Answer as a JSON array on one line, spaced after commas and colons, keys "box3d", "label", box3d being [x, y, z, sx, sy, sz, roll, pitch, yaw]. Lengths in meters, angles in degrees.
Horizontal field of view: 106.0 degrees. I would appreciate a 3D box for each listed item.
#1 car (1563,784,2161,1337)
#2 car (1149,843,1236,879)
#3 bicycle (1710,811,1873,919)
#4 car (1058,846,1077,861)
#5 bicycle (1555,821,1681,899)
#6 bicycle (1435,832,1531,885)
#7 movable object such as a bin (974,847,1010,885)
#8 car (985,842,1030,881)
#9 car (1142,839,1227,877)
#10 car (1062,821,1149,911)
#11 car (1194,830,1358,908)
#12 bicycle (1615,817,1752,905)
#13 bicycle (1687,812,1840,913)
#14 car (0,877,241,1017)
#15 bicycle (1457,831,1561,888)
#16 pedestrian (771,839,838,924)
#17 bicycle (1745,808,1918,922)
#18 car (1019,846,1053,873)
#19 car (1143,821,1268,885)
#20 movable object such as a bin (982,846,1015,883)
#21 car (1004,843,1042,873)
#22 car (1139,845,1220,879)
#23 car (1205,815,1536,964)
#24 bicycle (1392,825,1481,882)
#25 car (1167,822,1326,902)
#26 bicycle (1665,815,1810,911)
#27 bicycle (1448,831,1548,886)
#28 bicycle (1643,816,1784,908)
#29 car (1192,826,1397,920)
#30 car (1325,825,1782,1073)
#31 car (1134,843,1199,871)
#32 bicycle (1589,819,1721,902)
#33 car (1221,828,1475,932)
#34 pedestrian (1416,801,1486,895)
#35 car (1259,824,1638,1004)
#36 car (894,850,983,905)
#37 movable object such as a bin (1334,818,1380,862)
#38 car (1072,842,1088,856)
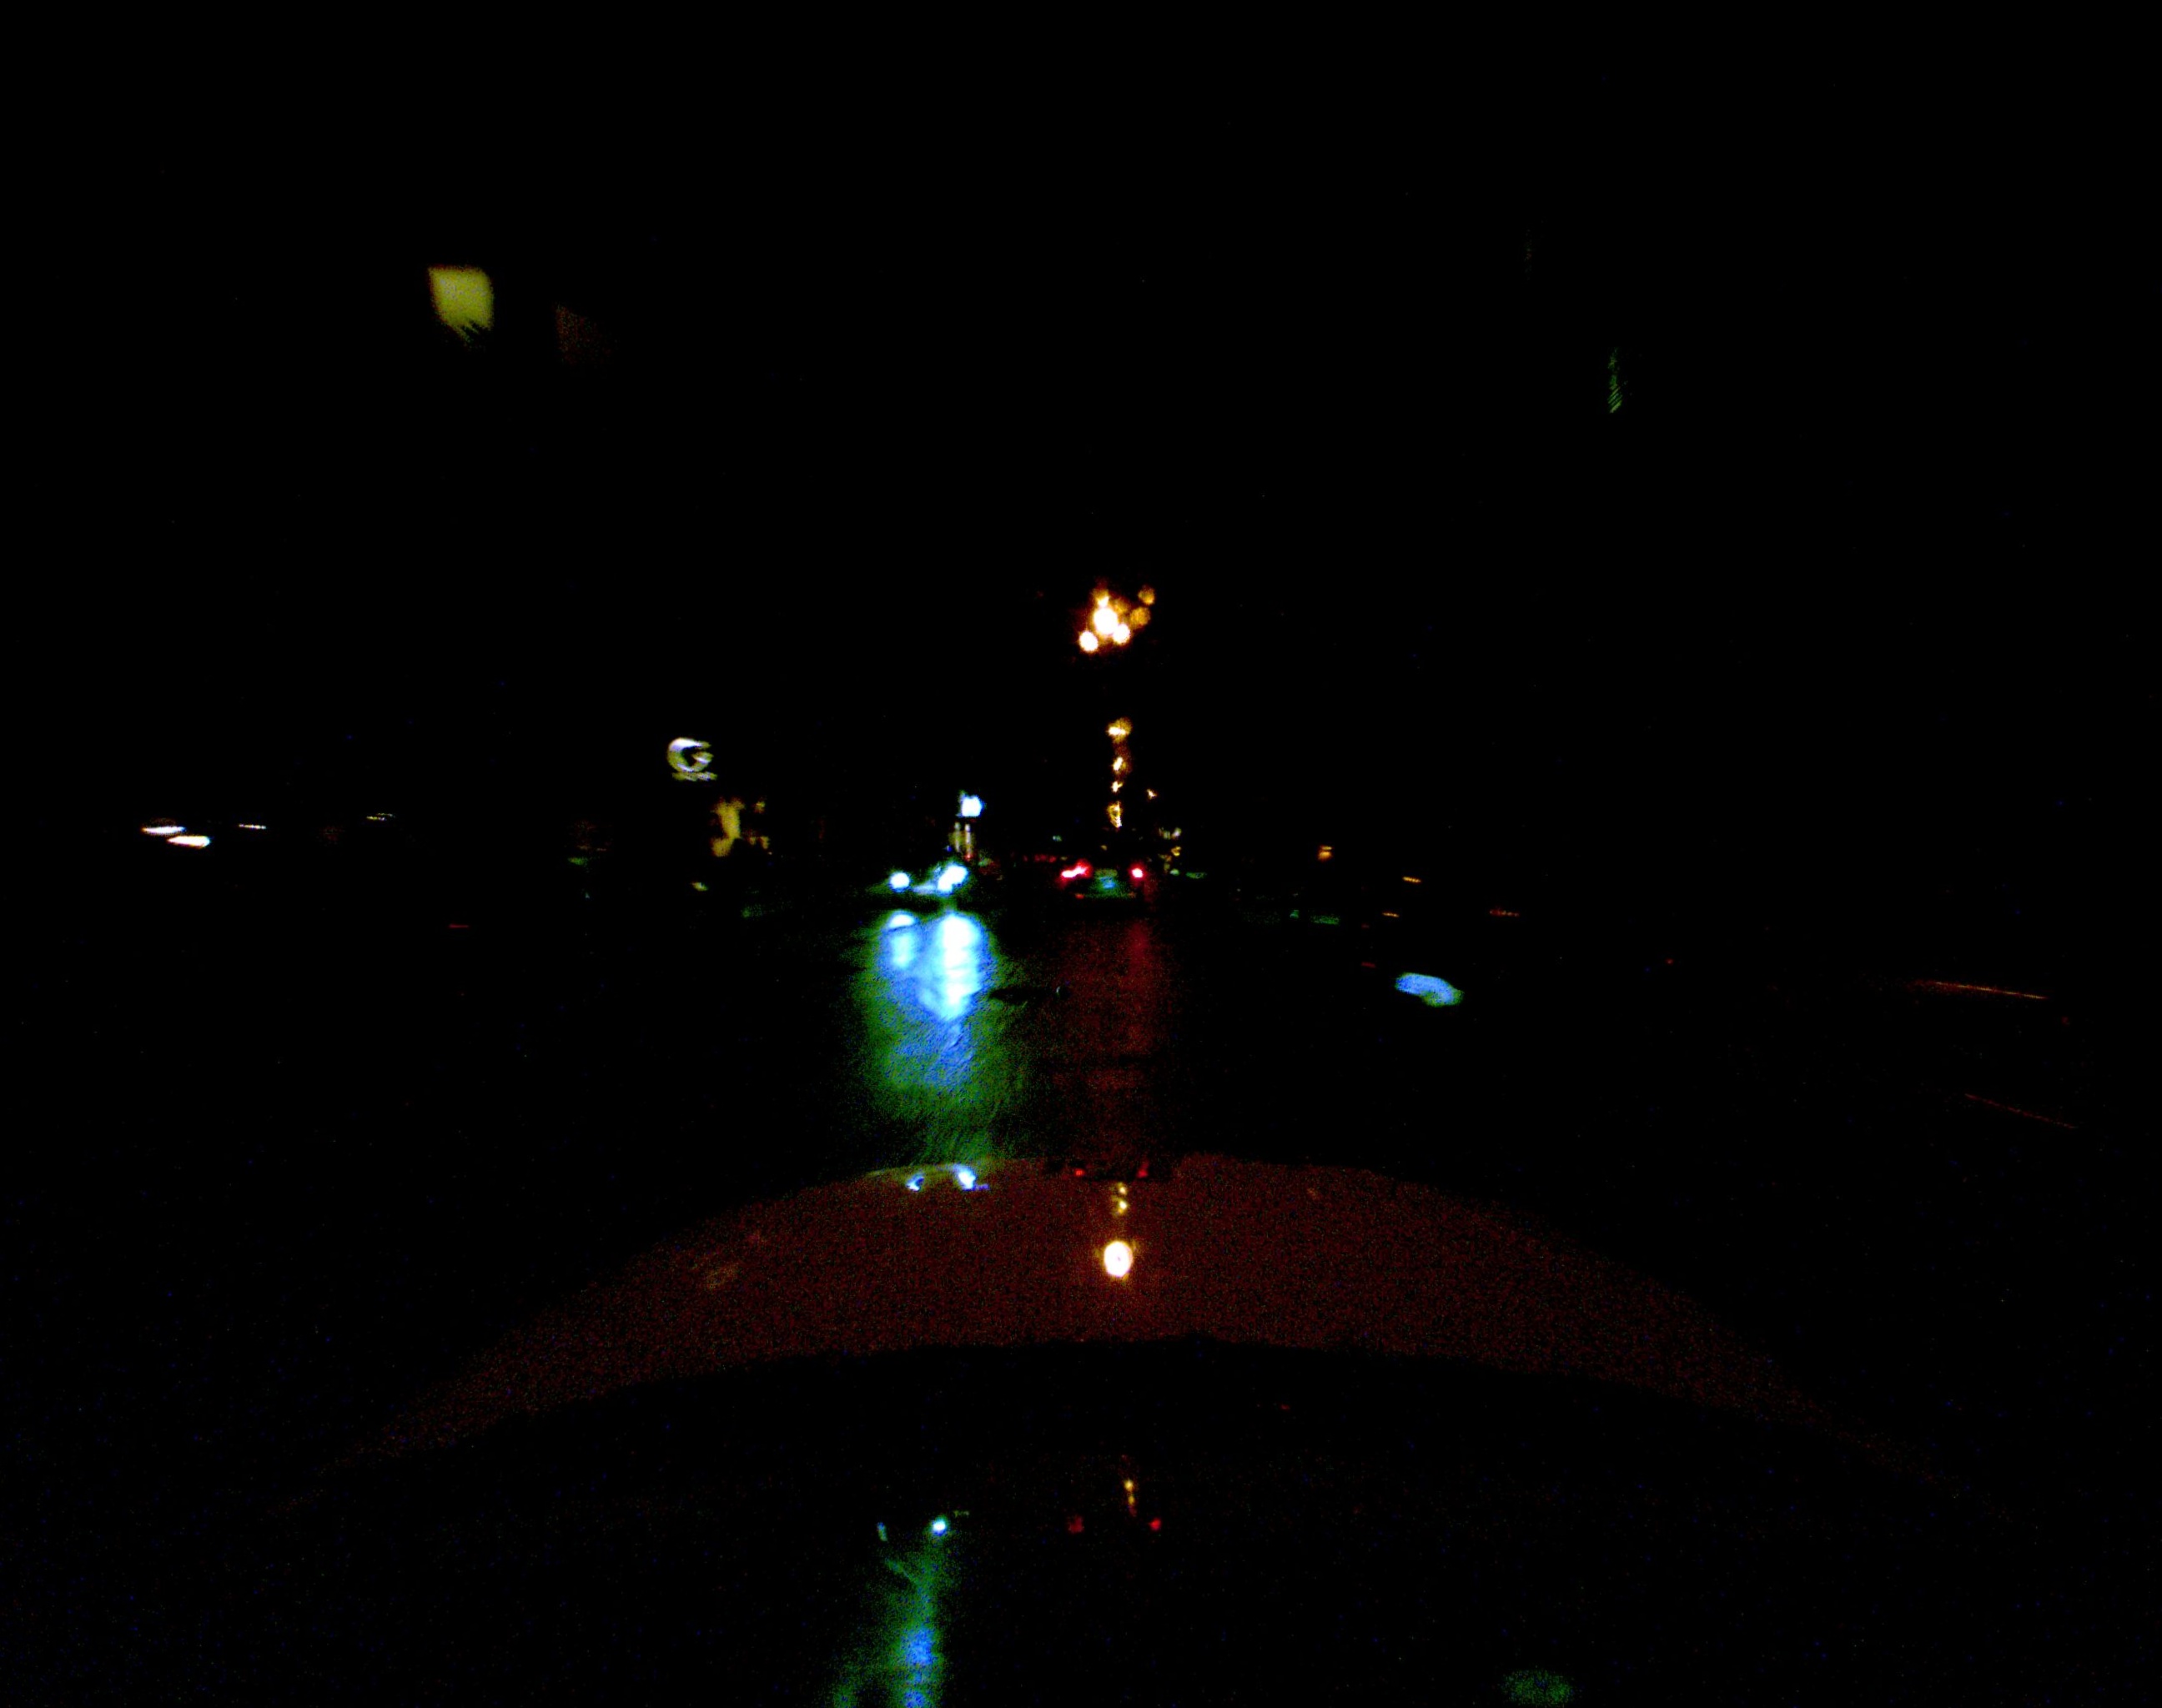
[{"box3d": [4.322, 0.496, 3.789, 3.717, 1.522, 1.644, -4, 0, -23], "label": "car"}, {"box3d": [5.640, 0.354, 41.139, 4.018, 1.552, 1.978, -3, 0, -36], "label": "car"}, {"box3d": [8.656, 0.125, 9.938, 1.683, 1.146, 0.428, -5, 1, -6], "label": "bicycle"}, {"box3d": [-1.304, -0.040, 82.132, 1.580, 1.482, 3.797, -1, 1, 4], "label": "car"}, {"box3d": [9.039, 0.086, 13.738, 1.683, 1.146, 0.664, -5, 1, -6], "label": "bicycle"}, {"box3d": [9.345, 0.108, 18.953, 1.968, 1.054, 0.509, -5, 0, -5], "label": "bicycle"}, {"box3d": [-3.453, 0.441, 31.851, 1.203, 1.459, 1.108, 0, 0, 4], "label": "movable object such as a bin"}, {"box3d": [-3.384, 0.310, 37.958, 1.597, 1.706, 3.723, -1, 1, 2], "label": "car"}, {"box3d": [4.825, 0.192, 37.813, 3.662, 1.542, 1.546, -3, 0, -28], "label": "car"}, {"box3d": [0.656, 0.282, 20.966, 1.985, 2.050, 4.003, -1, 0, 2], "label": "car"}, {"box3d": [4.778, 0.303, 19.838, 3.787, 1.728, 1.700, -1, 1, -31], "label": "car"}, {"box3d": [9.042, 0.099, 12.247, 1.683, 1.146, 0.540, -5, 1, -6], "label": "bicycle"}, {"box3d": [8.851, 0.098, 10.576, 1.683, 1.146, 0.428, -5, 1, -6], "label": "bicycle"}, {"box3d": [-13.651, 1.139, 10.406, 3.972, 1.538, 1.792, -1, 1, 2], "label": "car"}, {"box3d": [9.312, 0.109, 17.731, 1.968, 1.054, 0.509, -5, 0, -5], "label": "bicycle"}, {"box3d": [-6.024, 0.589, 17.783, 1.128, 1.782, 0.788, -1, 1, 2], "label": "pedestrian"}, {"box3d": [8.692, 0.118, 9.448, 1.683, 1.146, 0.428, -5, 1, -6], "label": "bicycle"}, {"box3d": [-2.666, 0.295, 49.194, 1.680, 1.455, 4.318, -1, 1, 2], "label": "car"}, {"box3d": [4.917, -0.078, 31.912, 4.745, 2.248, 1.926, -3, 0, -34], "label": "car"}, {"box3d": [-3.340, 0.405, 33.027, 1.159, 1.459, 1.108, 0, 0, 4], "label": "movable object such as a bin"}, {"box3d": [-3.067, 0.182, 43.992, 1.597, 1.552, 4.028, -1, 1, 2], "label": "car"}, {"box3d": [5.302, 0.414, 43.619, 4.015, 1.552, 1.786, -3, 0, -33], "label": "car"}, {"box3d": [3.979, 0.382, 11.261, 4.108, 1.764, 1.846, -1, 1, -21], "label": "car"}, {"box3d": [9.445, -0.015, 21.723, 1.960, 1.335, 0.784, -5, 0, 8], "label": "bicycle"}, {"box3d": [4.626, 0.176, 22.545, 4.264, 1.858, 1.699, -4, 0, -33], "label": "car"}, {"box3d": [8.981, 0.108, 11.148, 1.683, 1.146, 0.428, -5, 1, -6], "label": "bicycle"}, {"box3d": [9.370, 0.104, 18.308, 1.968, 1.054, 0.509, -5, 0, -5], "label": "bicycle"}, {"box3d": [9.059, 0.103, 11.681, 1.683, 1.146, 0.485, -5, 1, -6], "label": "bicycle"}, {"box3d": [4.399, 0.332, 16.837, 3.804, 1.728, 1.730, -1, 1, -21], "label": "car"}, {"box3d": [3.658, 0.578, 6.393, 3.048, 1.552, 1.495, -1, 1, -20], "label": "car"}, {"box3d": [5.306, 0.188, 50.688, 3.688, 1.460, 1.592, -3, 0, -23], "label": "car"}, {"box3d": [9.102, 0.094, 12.928, 1.683, 1.146, 0.596, -5, 1, -6], "label": "bicycle"}, {"box3d": [4.749, 0.388, 14.535, 4.064, 1.610, 1.831, -1, 1, -21], "label": "car"}, {"box3d": [7.831, -0.120, 17.287, 0.836, 1.835, 0.947, -7, -1, -2], "label": "pedestrian"}, {"box3d": [3.934, 0.523, 8.819, 3.565, 1.610, 1.702, -1, 1, -20], "label": "car"}, {"box3d": [-3.998, 0.613, 23.549, 1.647, 1.359, 4.225, -1, 1, 2], "label": "car"}, {"box3d": [9.952, -0.499, 29.400, 1.204, 1.451, 0.999, -6, 0, 2], "label": "movable object such as a bin"}, {"box3d": [-0.096, -0.601, 97.806, 1.807, 1.557, 4.075, -1, 1, -1], "label": "car"}]
